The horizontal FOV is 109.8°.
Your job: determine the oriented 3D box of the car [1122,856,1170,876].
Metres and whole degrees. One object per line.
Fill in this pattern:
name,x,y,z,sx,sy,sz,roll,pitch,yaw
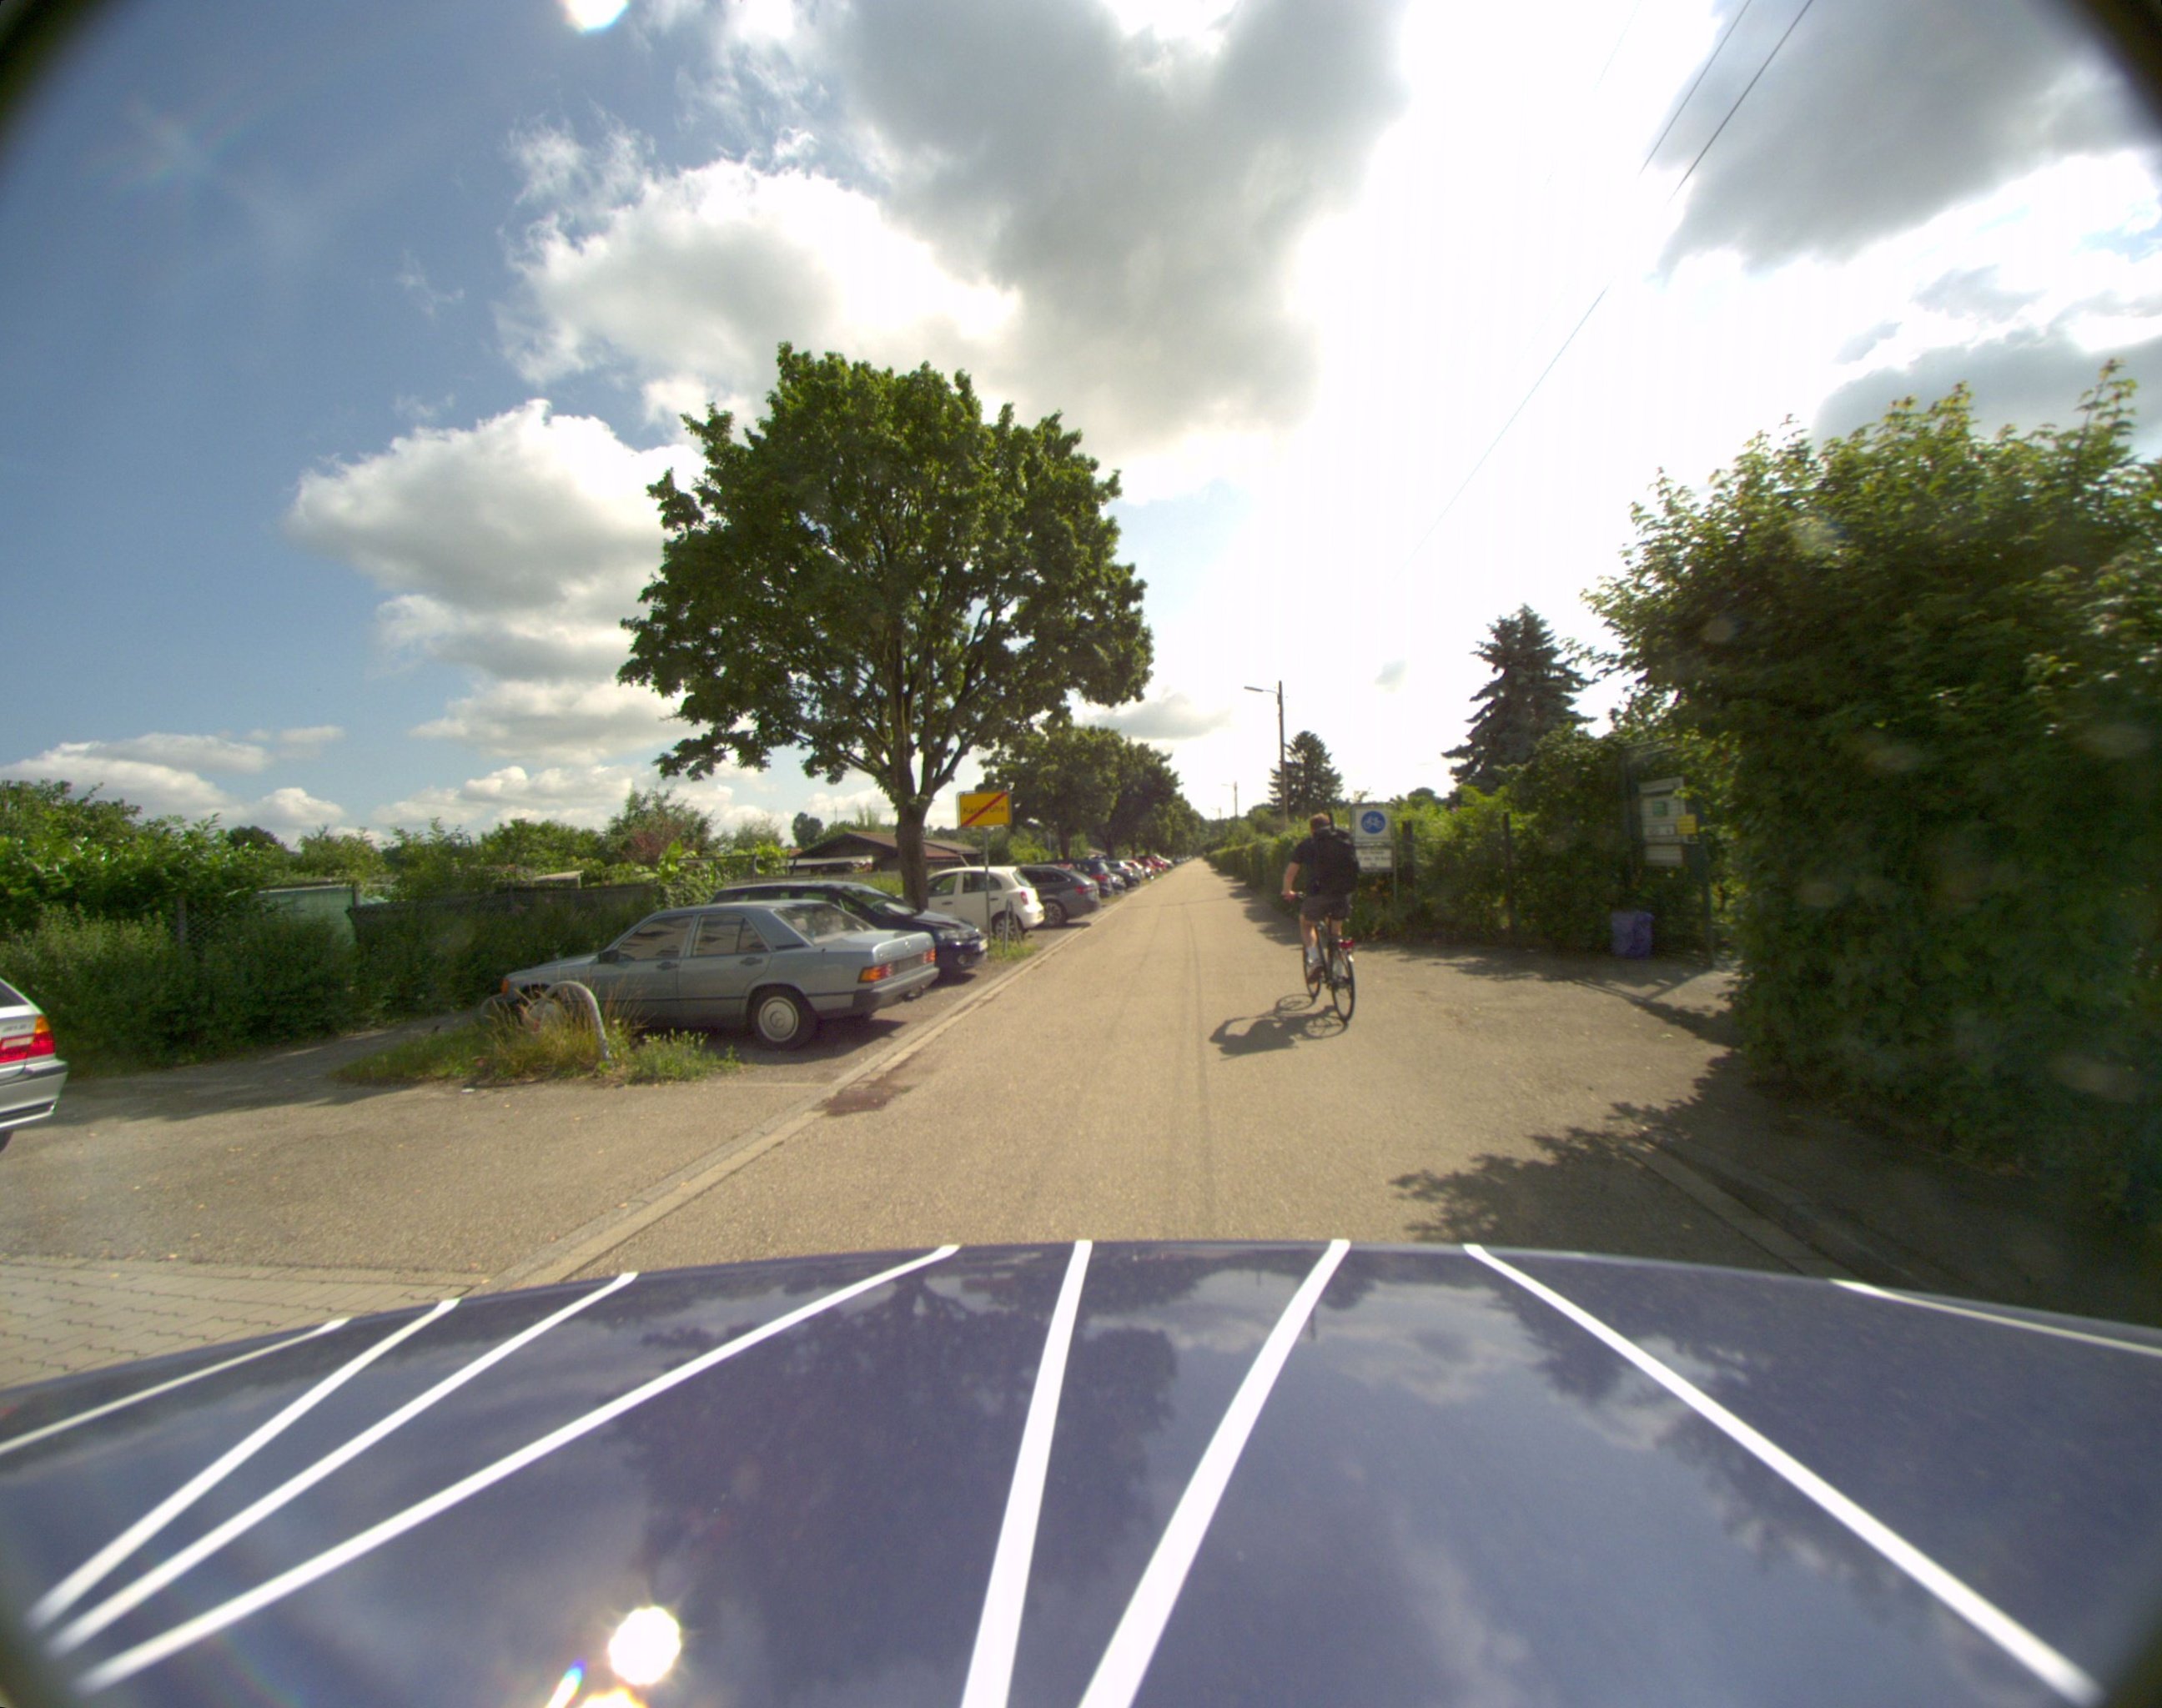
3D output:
car,6.008,1.080,70.177,4.191,1.495,1.879,-5,0,10

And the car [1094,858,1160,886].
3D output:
car,2.986,1.145,48.802,4.074,1.447,1.871,-5,0,7

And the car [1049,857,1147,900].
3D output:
car,0.842,1.136,35.742,4.310,1.584,2.001,-5,0,8

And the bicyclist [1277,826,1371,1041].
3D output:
bicyclist,2.227,0.687,7.070,0.660,1.841,1.044,-2,0,11

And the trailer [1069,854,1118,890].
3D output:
trailer,0.692,0.990,41.364,2.455,1.710,1.519,-5,-1,5

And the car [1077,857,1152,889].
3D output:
car,2.028,1.138,45.439,4.071,1.502,1.959,-5,0,12

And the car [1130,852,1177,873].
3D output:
car,7.407,0.867,77.705,4.643,1.875,2.113,-2,0,7

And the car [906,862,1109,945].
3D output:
car,-1.696,1.172,18.550,4.558,1.569,1.809,-5,0,5

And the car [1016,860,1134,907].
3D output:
car,-0.177,1.158,30.326,4.344,1.483,1.977,-5,0,8

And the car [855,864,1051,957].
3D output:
car,-2.568,1.141,15.797,3.581,1.540,1.667,-5,0,6

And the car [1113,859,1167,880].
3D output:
car,4.916,1.275,63.036,4.248,1.420,1.909,-5,0,5

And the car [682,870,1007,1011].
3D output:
car,-3.261,1.190,10.951,3.941,1.550,1.869,-5,0,7

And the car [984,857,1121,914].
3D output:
car,-0.894,1.040,25.284,4.162,1.628,1.880,-3,0,10

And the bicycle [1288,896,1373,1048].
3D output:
bicycle,2.319,1.031,7.214,0.518,1.143,1.828,-2,0,11

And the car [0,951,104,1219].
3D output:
car,-8.117,1.358,3.984,4.248,1.422,1.760,-2,0,8

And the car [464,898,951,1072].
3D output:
car,-3.762,1.286,7.887,4.365,1.384,1.720,-3,0,13

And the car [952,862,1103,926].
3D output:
car,-1.441,1.090,21.169,3.816,1.523,1.763,-3,0,9

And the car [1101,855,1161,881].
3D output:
car,3.687,1.011,55.476,3.994,1.510,1.856,-5,0,12

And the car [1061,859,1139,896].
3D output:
car,1.000,1.157,38.397,3.731,1.531,1.850,-5,0,6
